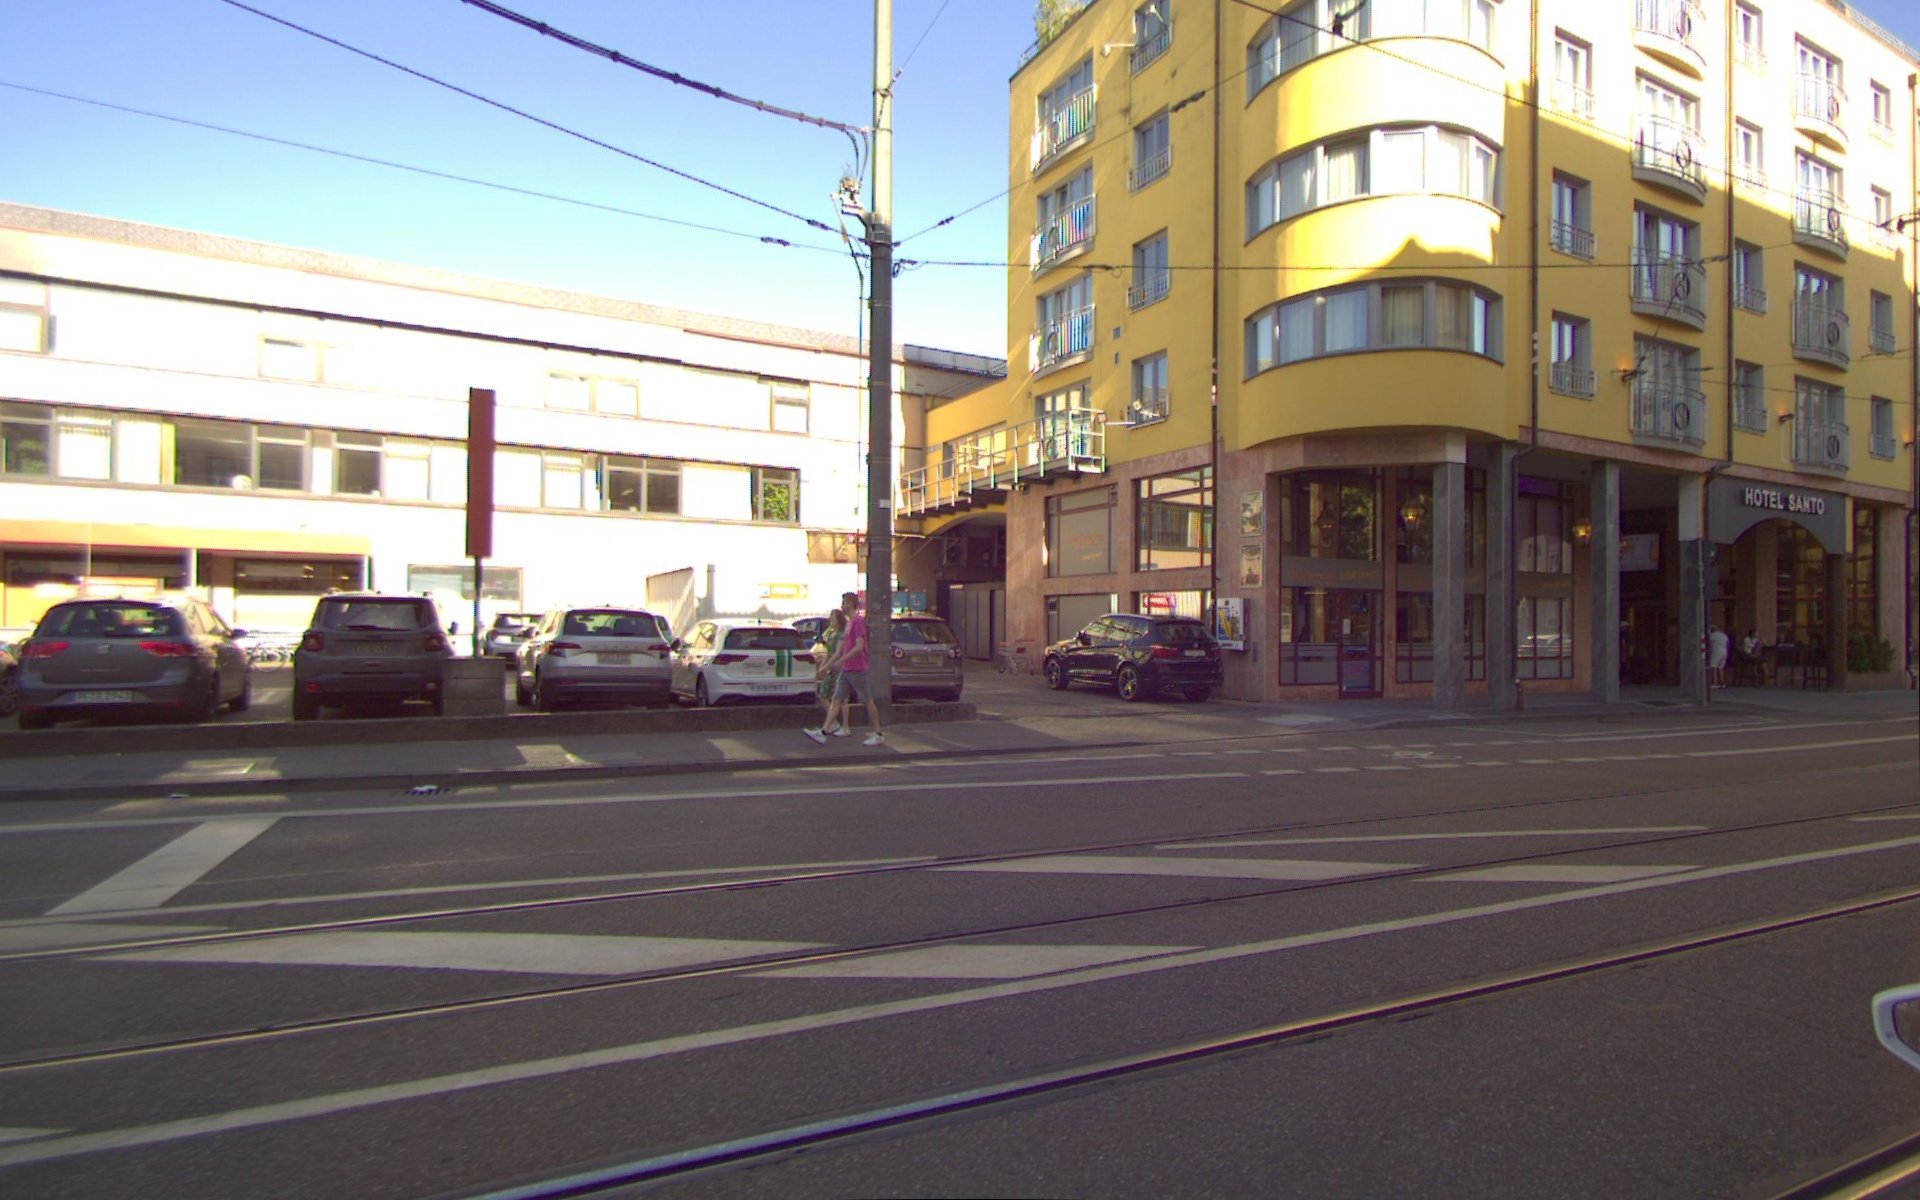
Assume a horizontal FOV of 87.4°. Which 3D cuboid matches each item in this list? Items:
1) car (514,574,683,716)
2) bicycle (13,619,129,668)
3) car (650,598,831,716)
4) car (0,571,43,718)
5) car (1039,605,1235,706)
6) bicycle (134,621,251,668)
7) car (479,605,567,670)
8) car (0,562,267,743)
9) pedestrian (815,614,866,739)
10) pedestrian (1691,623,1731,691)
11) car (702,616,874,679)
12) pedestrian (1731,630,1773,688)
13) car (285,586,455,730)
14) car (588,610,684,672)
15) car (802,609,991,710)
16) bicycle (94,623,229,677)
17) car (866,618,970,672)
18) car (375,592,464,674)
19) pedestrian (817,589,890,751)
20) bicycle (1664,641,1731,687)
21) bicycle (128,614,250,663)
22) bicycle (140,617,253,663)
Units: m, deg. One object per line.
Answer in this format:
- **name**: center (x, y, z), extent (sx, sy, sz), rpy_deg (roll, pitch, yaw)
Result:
- **car**: center (-5.611, 0.700, 15.265), extent (1.763, 1.835, 4.217), rpy_deg (4, -4, -28)
- **bicycle**: center (-19.165, 0.950, 21.689), extent (1.801, 1.028, 0.366), rpy_deg (1, -1, -25)
- **car**: center (-3.703, 0.918, 16.350), extent (1.763, 1.630, 4.217), rpy_deg (4, -4, -28)
- **car**: center (-12.457, 0.533, 11.548), extent (1.763, 1.836, 4.217), rpy_deg (1, -1, -28)
- **car**: center (3.504, 1.069, 20.637), extent (1.763, 1.836, 4.217), rpy_deg (1, -1, -28)
- **bicycle**: center (-17.409, 1.014, 22.838), extent (2.039, 1.028, 0.493), rpy_deg (2, -1, -31)
- **car**: center (-11.234, 0.978, 25.723), extent (1.608, 1.501, 3.620), rpy_deg (4, -4, -30)
- **car**: center (-9.999, 0.584, 12.440), extent (1.763, 1.836, 4.217), rpy_deg (1, -1, -27)
- **pedestrian**: center (-1.622, 1.018, 13.624), extent (0.493, 1.638, 0.569), rpy_deg (1, -1, -29)
- **pedestrian**: center (20.425, 1.549, 27.309), extent (0.712, 1.793, 0.560), rpy_deg (2, 0, -24)
- **car**: center (-4.369, 1.192, 25.574), extent (3.954, 1.473, 1.771), rpy_deg (2, -1, -31)
- **pedestrian**: center (21.891, 1.627, 27.769), extent (0.593, 1.568, 0.704), rpy_deg (1, -1, -24)
- **car**: center (-8.015, 0.730, 13.907), extent (1.763, 1.694, 3.675), rpy_deg (1, -1, -27)
- **car**: center (-8.550, 1.037, 26.328), extent (1.676, 1.499, 3.561), rpy_deg (2, -2, -30)
- **car**: center (-1.264, 1.044, 17.931), extent (1.763, 1.568, 4.217), rpy_deg (4, -4, -28)
- **bicycle**: center (-15.898, 0.996, 20.062), extent (2.039, 1.028, 0.507), rpy_deg (2, -1, -31)
- **car**: center (-1.313, 1.300, 29.988), extent (1.676, 1.499, 3.561), rpy_deg (2, -1, -30)
- **car**: center (-12.732, 0.755, 23.602), extent (1.676, 1.772, 3.561), rpy_deg (1, -1, -30)
- **pedestrian**: center (-1.348, 0.867, 12.667), extent (0.701, 1.972, 0.634), rpy_deg (1, -1, -30)
- **bicycle**: center (20.588, 1.780, 28.027), extent (2.052, 1.218, 0.580), rpy_deg (1, -1, -24)
- **bicycle**: center (-16.862, 0.844, 22.025), extent (2.039, 1.028, 0.501), rpy_deg (2, -1, -31)
- **bicycle**: center (-17.819, 0.940, 23.490), extent (2.039, 1.028, 0.501), rpy_deg (2, -1, -31)
